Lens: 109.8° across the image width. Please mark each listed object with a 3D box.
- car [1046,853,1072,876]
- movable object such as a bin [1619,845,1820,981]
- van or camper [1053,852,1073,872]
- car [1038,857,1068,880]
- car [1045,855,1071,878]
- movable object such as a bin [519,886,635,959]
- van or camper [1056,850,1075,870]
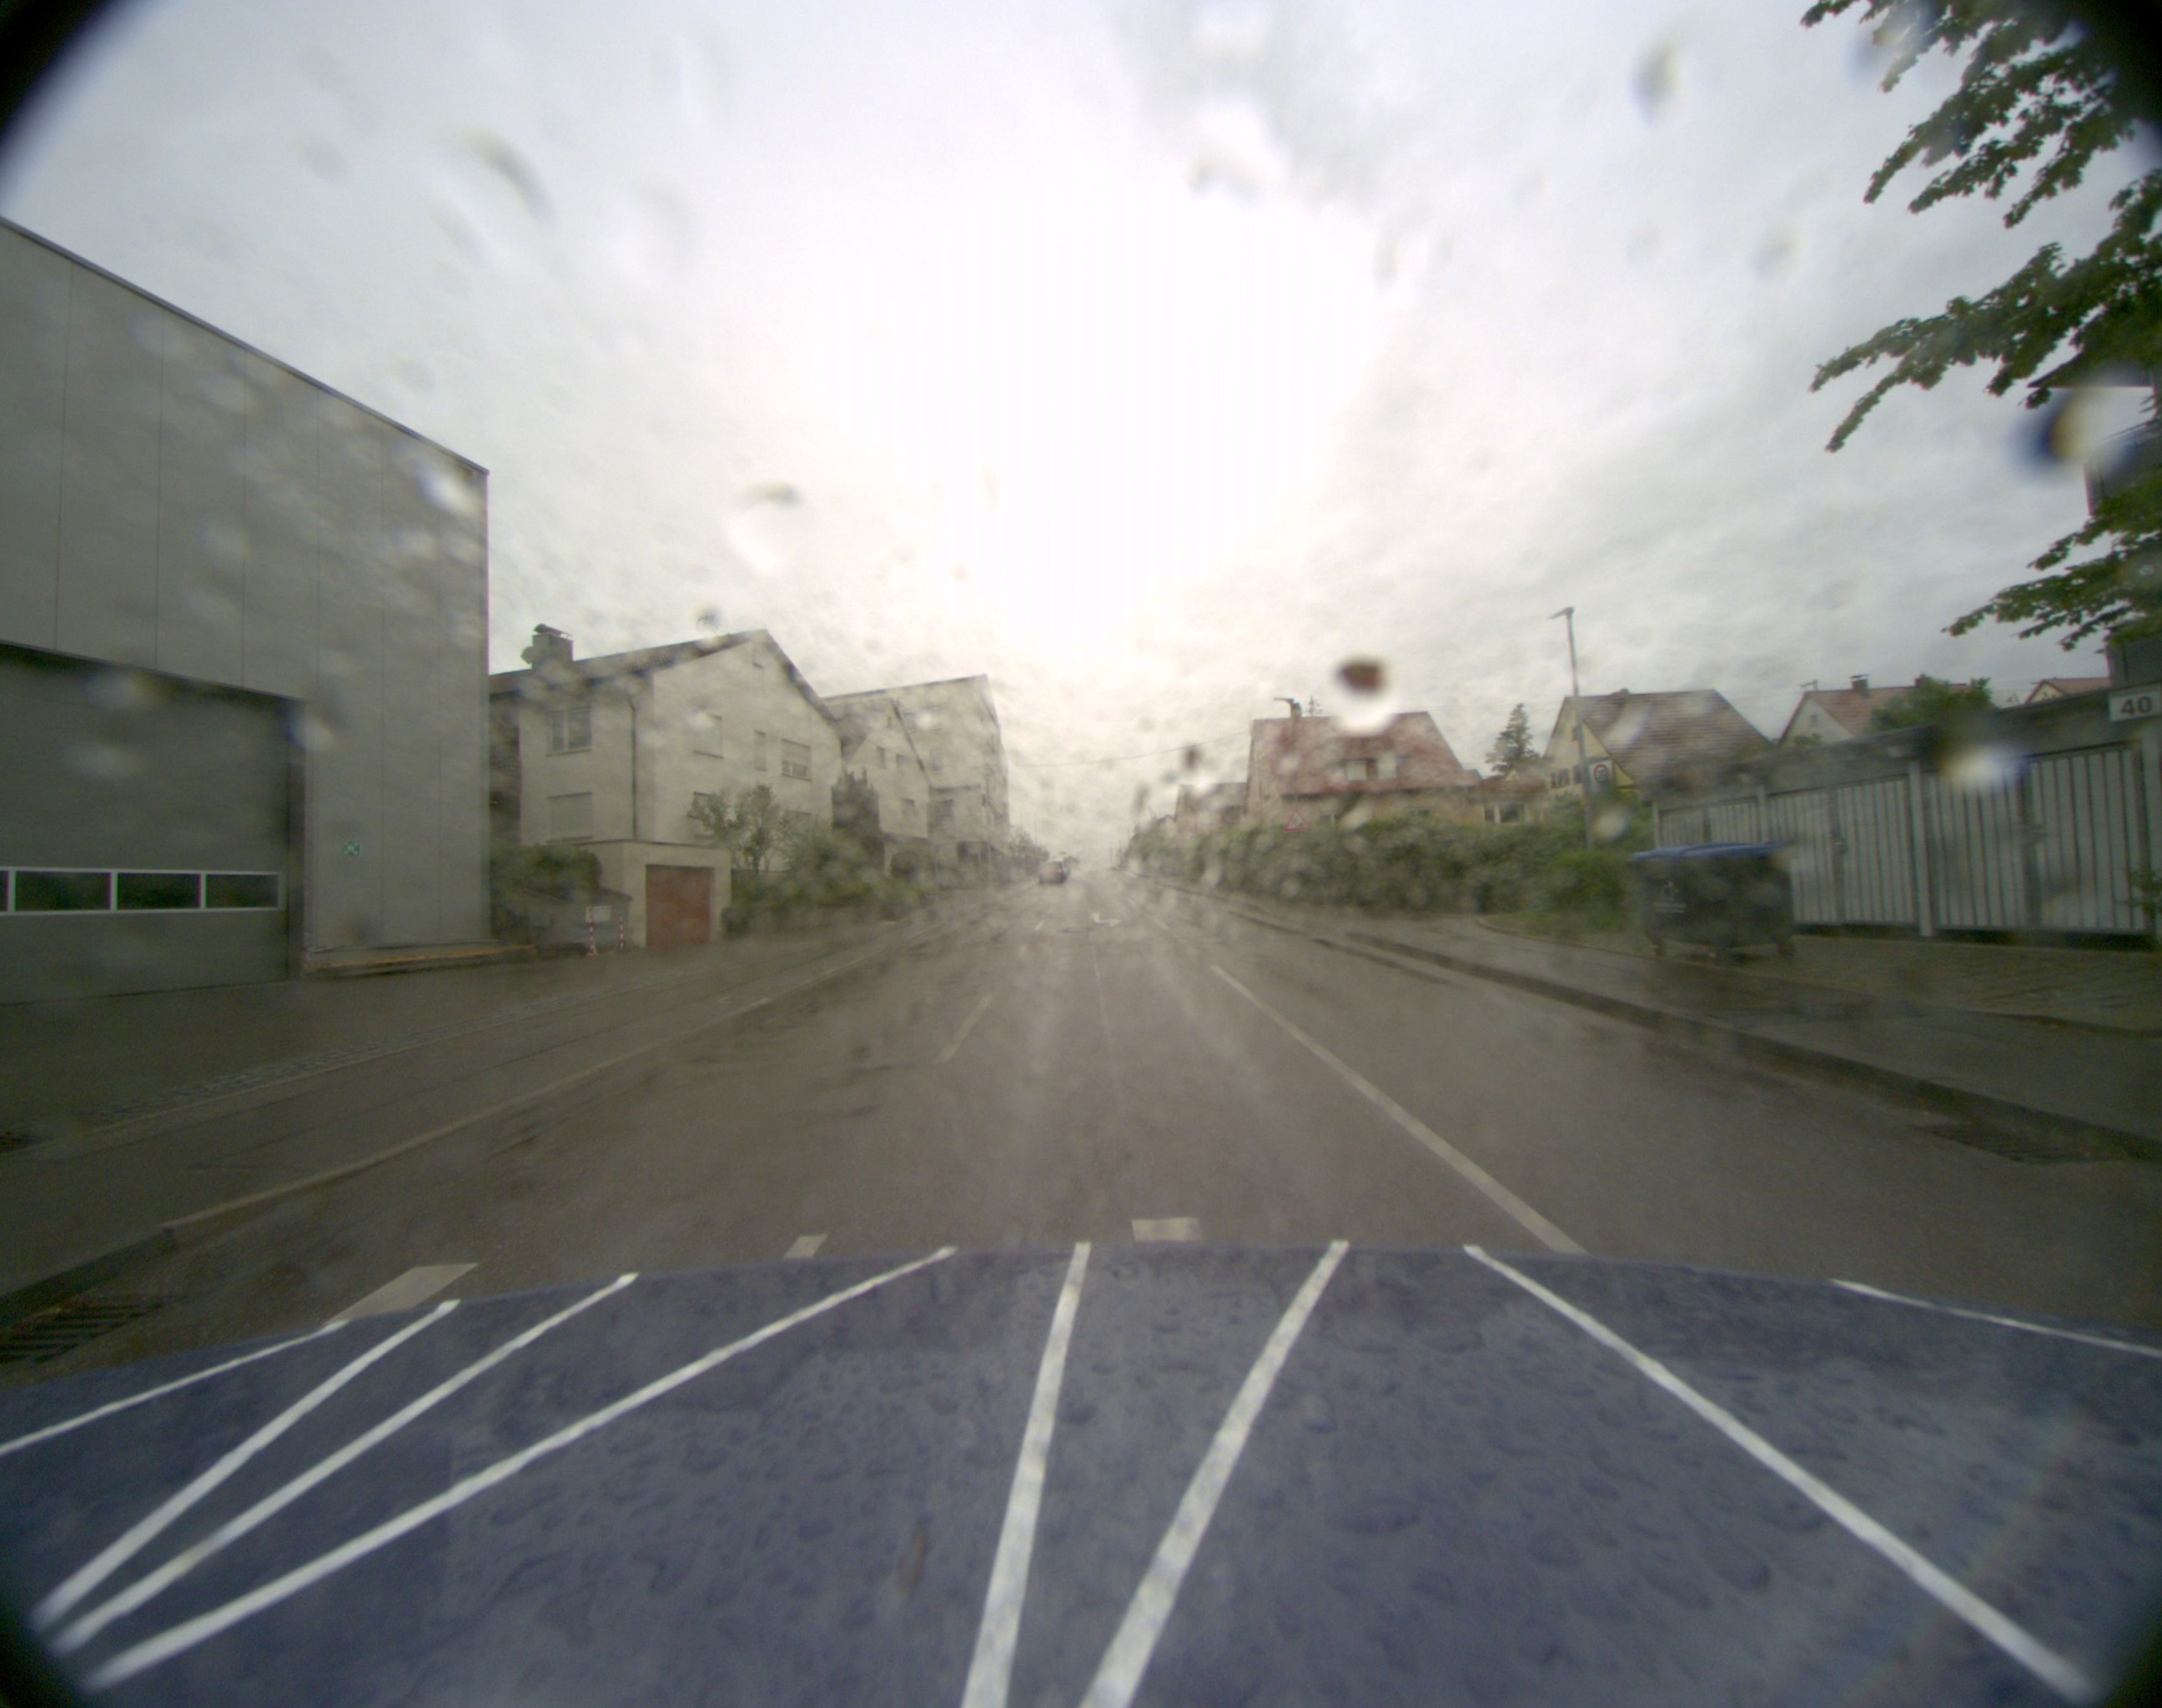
[{"bbox_3d":[-2.007,0.928,70.872,1.998,1.923,4.976,-3,0,1],"label":"car"},{"bbox_3d":[7.129,0.622,8.583,1.074,1.339,1.319,-4,0,-1],"label":"movable object such as a bin"},{"bbox_3d":[-2.018,0.877,84.794,1.998,2.101,5.203,-2,0,0],"label":"van or camper"},{"bbox_3d":[-2.174,1.111,59.867,1.998,1.635,4.958,-3,0,1],"label":"car"},{"bbox_3d":[-1.954,1.027,65.093,1.883,1.823,4.489,-3,0,1],"label":"car"},{"bbox_3d":[-11.513,1.537,17.433,1.263,1.509,1.781,-2,0,16],"label":"movable object such as a bin"},{"bbox_3d":[-1.821,0.686,90.751,1.998,2.229,5.441,-2,0,0],"label":"van or camper"}]
